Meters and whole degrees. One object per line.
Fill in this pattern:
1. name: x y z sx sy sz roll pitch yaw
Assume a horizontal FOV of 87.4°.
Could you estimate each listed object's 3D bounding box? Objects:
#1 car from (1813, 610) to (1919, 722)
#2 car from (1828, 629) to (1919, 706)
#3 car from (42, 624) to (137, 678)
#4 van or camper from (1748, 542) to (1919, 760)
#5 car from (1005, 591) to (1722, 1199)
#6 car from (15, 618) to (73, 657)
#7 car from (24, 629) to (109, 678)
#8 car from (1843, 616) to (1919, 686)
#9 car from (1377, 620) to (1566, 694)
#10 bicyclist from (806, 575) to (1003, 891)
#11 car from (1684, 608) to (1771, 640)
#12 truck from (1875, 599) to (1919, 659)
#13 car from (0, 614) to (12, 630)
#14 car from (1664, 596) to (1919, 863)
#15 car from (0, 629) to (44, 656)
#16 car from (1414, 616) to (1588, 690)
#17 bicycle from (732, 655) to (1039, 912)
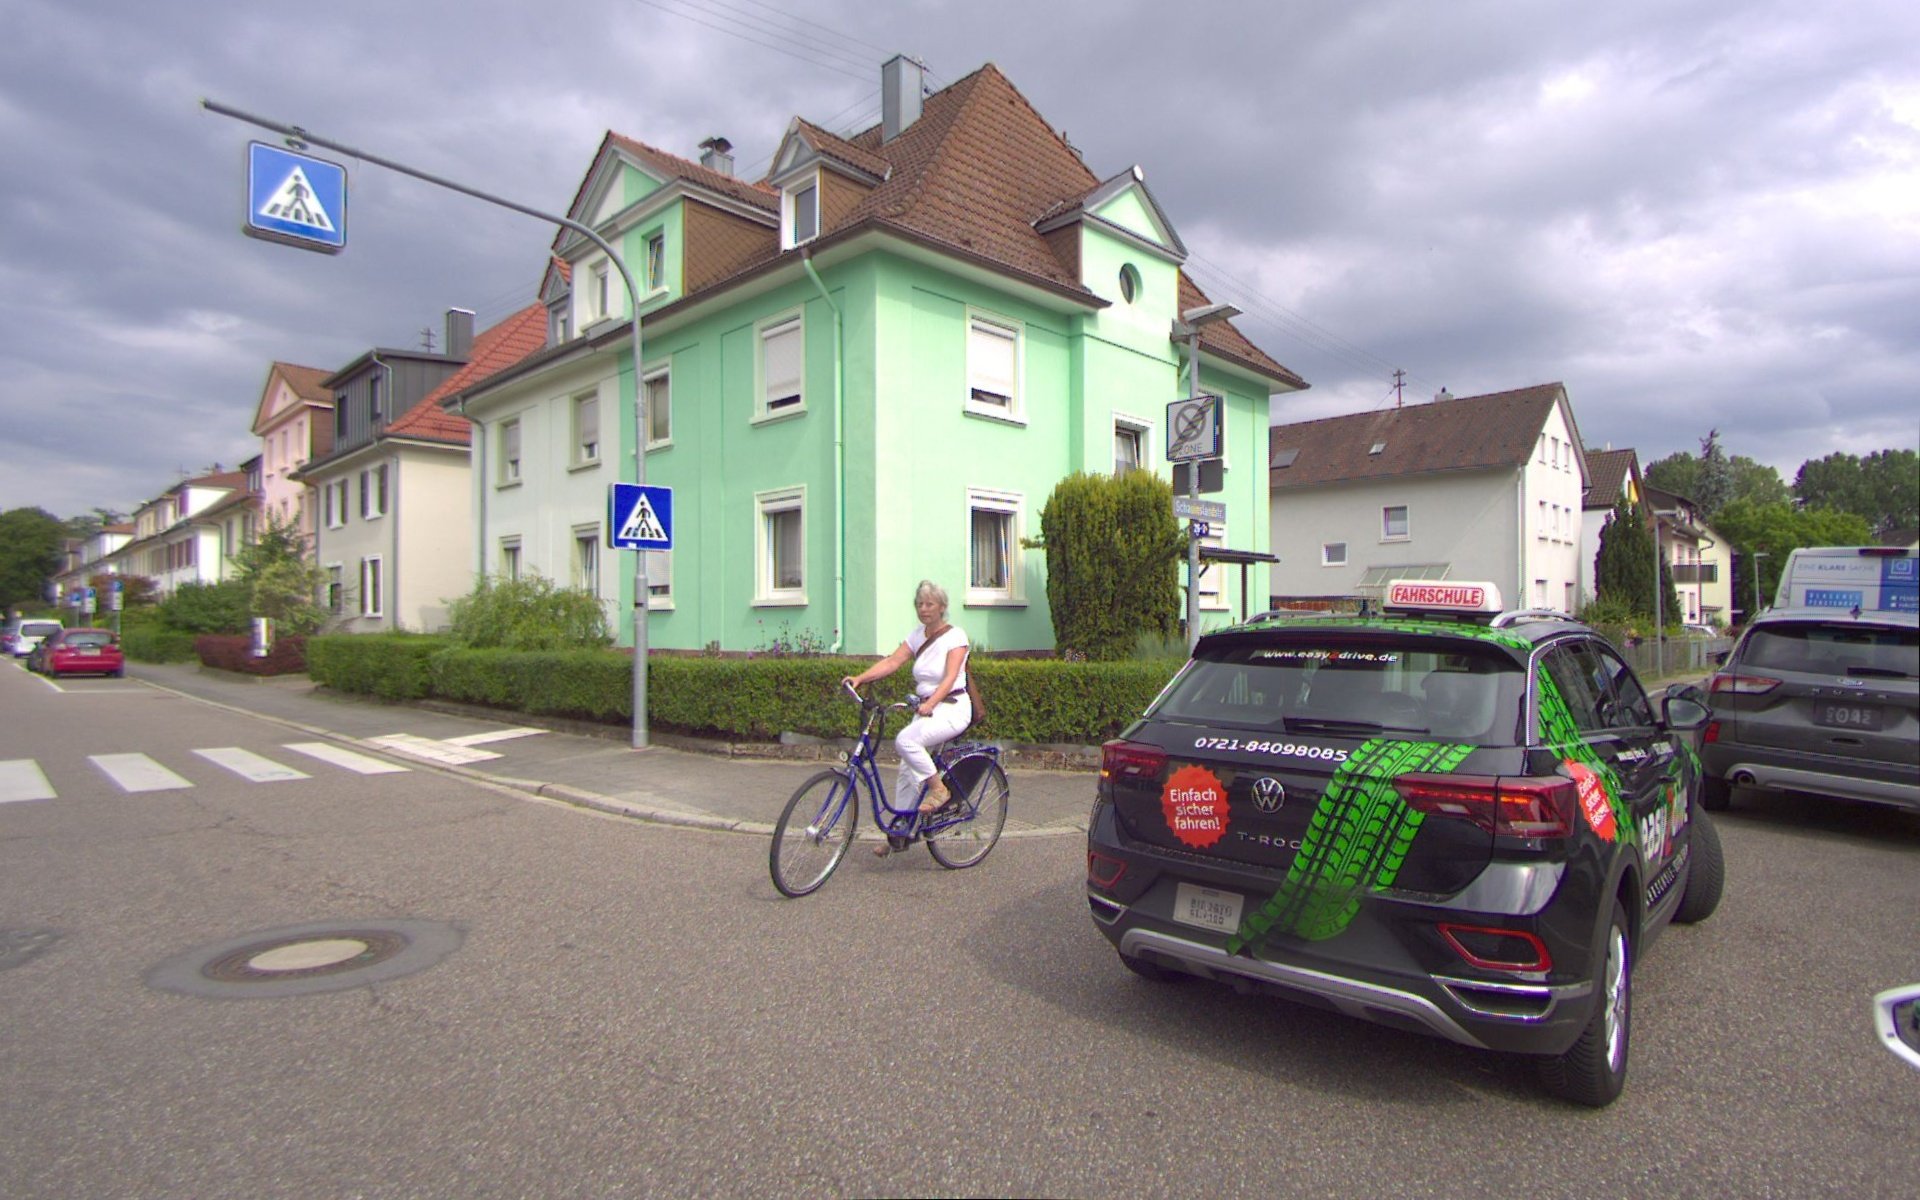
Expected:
1. car: 16.487 1.084 17.813 1.971 1.795 4.319 -1 -2 41
2. car: 19.919 1.371 21.489 1.971 1.475 4.319 -1 -2 41
3. car: -27.519 1.552 31.712 3.946 1.595 1.988 -2 -2 45
4. van or camper: 12.375 0.622 13.631 2.169 2.491 5.024 -1 -2 43
5. car: 2.164 0.814 4.557 1.795 1.540 4.023 0 -2 41
6. car: -47.014 1.911 51.550 3.946 1.929 1.988 -1 -2 45
7. car: -31.330 1.808 35.184 3.946 1.595 1.988 -2 -2 45
8. car: 25.339 1.335 27.314 1.971 1.772 4.319 -1 -2 41
9. car: 11.441 1.235 22.565 3.530 1.520 1.580 -1 -2 41
10. bicyclist: -0.316 0.712 5.958 0.688 1.688 0.970 1 0 40
11. car: 44.856 1.402 58.737 3.942 1.795 1.861 -1 -3 42
12. truck: 44.320 1.357 47.057 2.106 2.692 4.559 -1 -1 42
13. car: -120.958 2.784 126.602 3.947 2.040 1.988 -2 -3 45
14. car: 7.428 0.883 8.459 1.971 1.749 4.319 -1 -2 41
15. car: -58.506 2.609 62.554 3.946 1.595 1.988 -2 -2 45
16. car: 13.260 1.261 24.714 3.530 1.689 1.580 -1 -2 41
17. bicycle: -0.364 0.959 5.897 0.697 1.167 1.864 1 0 40
